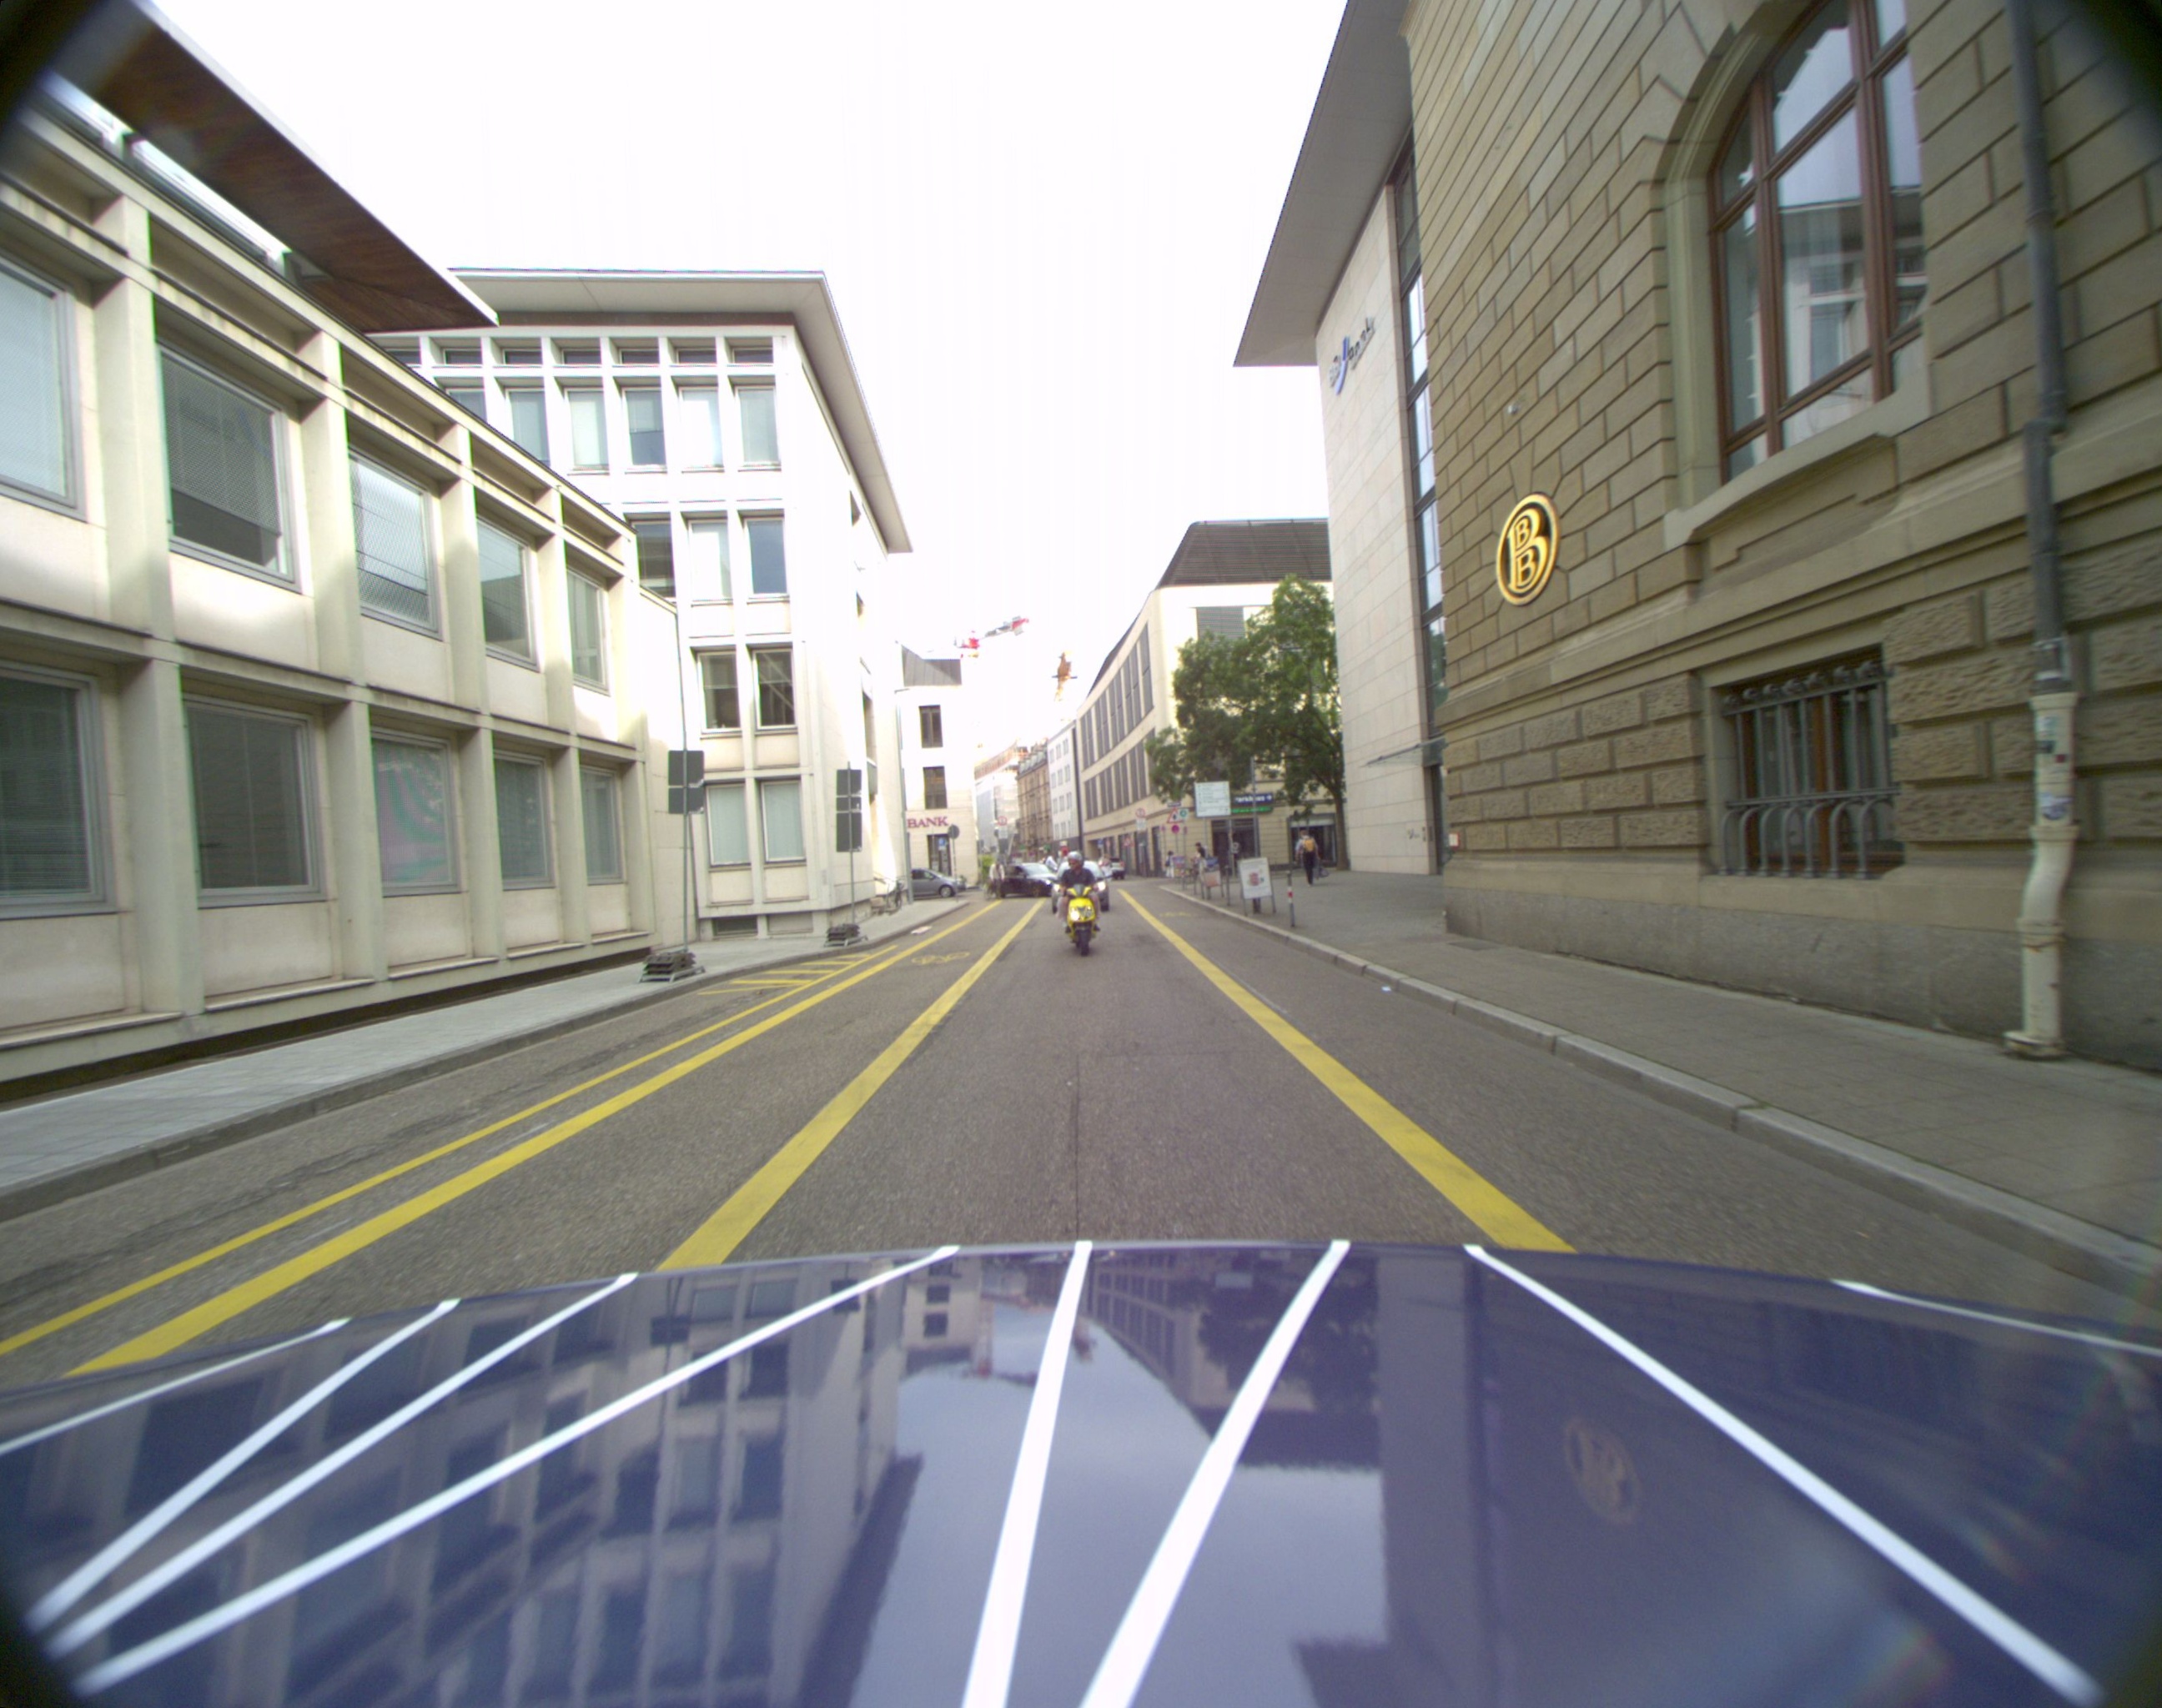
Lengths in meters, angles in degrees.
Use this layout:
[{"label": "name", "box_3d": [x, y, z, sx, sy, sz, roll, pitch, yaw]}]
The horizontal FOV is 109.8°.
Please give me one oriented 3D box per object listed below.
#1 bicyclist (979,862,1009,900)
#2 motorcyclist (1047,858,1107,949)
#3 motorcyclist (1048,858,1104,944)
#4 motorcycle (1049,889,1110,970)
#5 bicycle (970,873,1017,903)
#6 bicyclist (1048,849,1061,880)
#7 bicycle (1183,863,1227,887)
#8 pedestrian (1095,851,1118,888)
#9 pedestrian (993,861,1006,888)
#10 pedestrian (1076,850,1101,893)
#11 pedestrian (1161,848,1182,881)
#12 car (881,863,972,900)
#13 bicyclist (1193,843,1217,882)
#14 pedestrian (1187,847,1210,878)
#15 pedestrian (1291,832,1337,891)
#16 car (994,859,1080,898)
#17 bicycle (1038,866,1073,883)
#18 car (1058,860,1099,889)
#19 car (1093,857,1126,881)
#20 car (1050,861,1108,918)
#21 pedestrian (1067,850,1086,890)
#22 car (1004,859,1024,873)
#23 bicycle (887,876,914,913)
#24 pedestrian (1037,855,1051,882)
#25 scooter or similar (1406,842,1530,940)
[{"label": "bicyclist", "box_3d": [-3.756, 1.169, 32.848, 0.894, 1.585, 0.875, -4, 1, -31]}, {"label": "motorcyclist", "box_3d": [-0.070, 0.799, 12.796, 0.924, 1.445, 1.065, -2, 0, -1]}, {"label": "motorcyclist", "box_3d": [-0.095, 0.808, 13.405, 0.903, 1.445, 0.742, -2, 0, -2]}, {"label": "motorcycle", "box_3d": [-0.065, 1.232, 12.996, 0.930, 1.158, 2.126, -2, 0, -2]}, {"label": "bicycle", "box_3d": [-3.841, 1.435, 32.957, 0.872, 1.187, 2.857, -4, 1, -31]}, {"label": "bicyclist", "box_3d": [-1.411, 0.547, 40.436, 0.586, 1.586, 0.663, -3, 1, -3]}, {"label": "bicycle", "box_3d": [5.348, 0.903, 32.776, 1.721, 0.829, 0.603, -8, -2, 34]}, {"label": "pedestrian", "box_3d": [1.301, 0.775, 39.001, 0.774, 1.820, 0.860, -4, 1, -21]}, {"label": "pedestrian", "box_3d": [-5.778, 1.432, 53.841, 0.861, 1.820, 0.773, -3, 1, -7]}, {"label": "pedestrian", "box_3d": [0.328, 0.759, 33.668, 0.745, 1.804, 0.756, -7, 1, -12]}, {"label": "pedestrian", "box_3d": [5.062, 0.572, 42.665, 0.879, 1.699, 0.910, -7, 1, -1]}, {"label": "car", "box_3d": [-7.788, 1.373, 38.550, 4.194, 1.581, 1.814, -3, 1, -3]}, {"label": "bicyclist", "box_3d": [5.330, 0.368, 32.747, 0.642, 1.609, 0.624, -6, 0, 34]}, {"label": "pedestrian", "box_3d": [7.153, 0.483, 46.248, 1.060, 1.755, 0.893, -7, 1, 1]}, {"label": "pedestrian", "box_3d": [7.318, 0.232, 23.872, 1.028, 1.710, 0.818, -6, 1, 0]}, {"label": "car", "box_3d": [-1.946, 1.053, 32.684, 1.720, 1.482, 3.755, -4, 1, -39]}, {"label": "bicycle", "box_3d": [-1.371, 1.095, 40.447, 1.769, 0.792, 0.663, -3, 1, -3]}, {"label": "car", "box_3d": [-0.196, 1.175, 45.153, 1.710, 1.482, 4.100, -4, 0, -9]}, {"label": "car", "box_3d": [1.979, 1.061, 54.080, 1.563, 1.547, 4.100, -4, 0, -8]}, {"label": "car", "box_3d": [-0.080, 1.017, 23.356, 1.562, 1.482, 3.784, -3, 0, 0]}, {"label": "pedestrian", "box_3d": [-0.187, 0.716, 34.518, 0.644, 1.755, 0.653, -4, 0, -12]}, {"label": "car", "box_3d": [-7.677, 1.345, 86.897, 1.590, 1.477, 3.995, -4, 1, -15]}, {"label": "bicycle", "box_3d": [-6.295, 1.396, 26.528, 0.590, 1.160, 1.814, -3, 1, -5]}, {"label": "pedestrian", "box_3d": [-2.585, 1.027, 53.201, 0.861, 1.820, 0.773, -3, 1, -6]}, {"label": "scooter or similar", "box_3d": [5.864, 0.552, 11.547, 1.450, 1.303, 0.587, -7, 0, -1]}]
